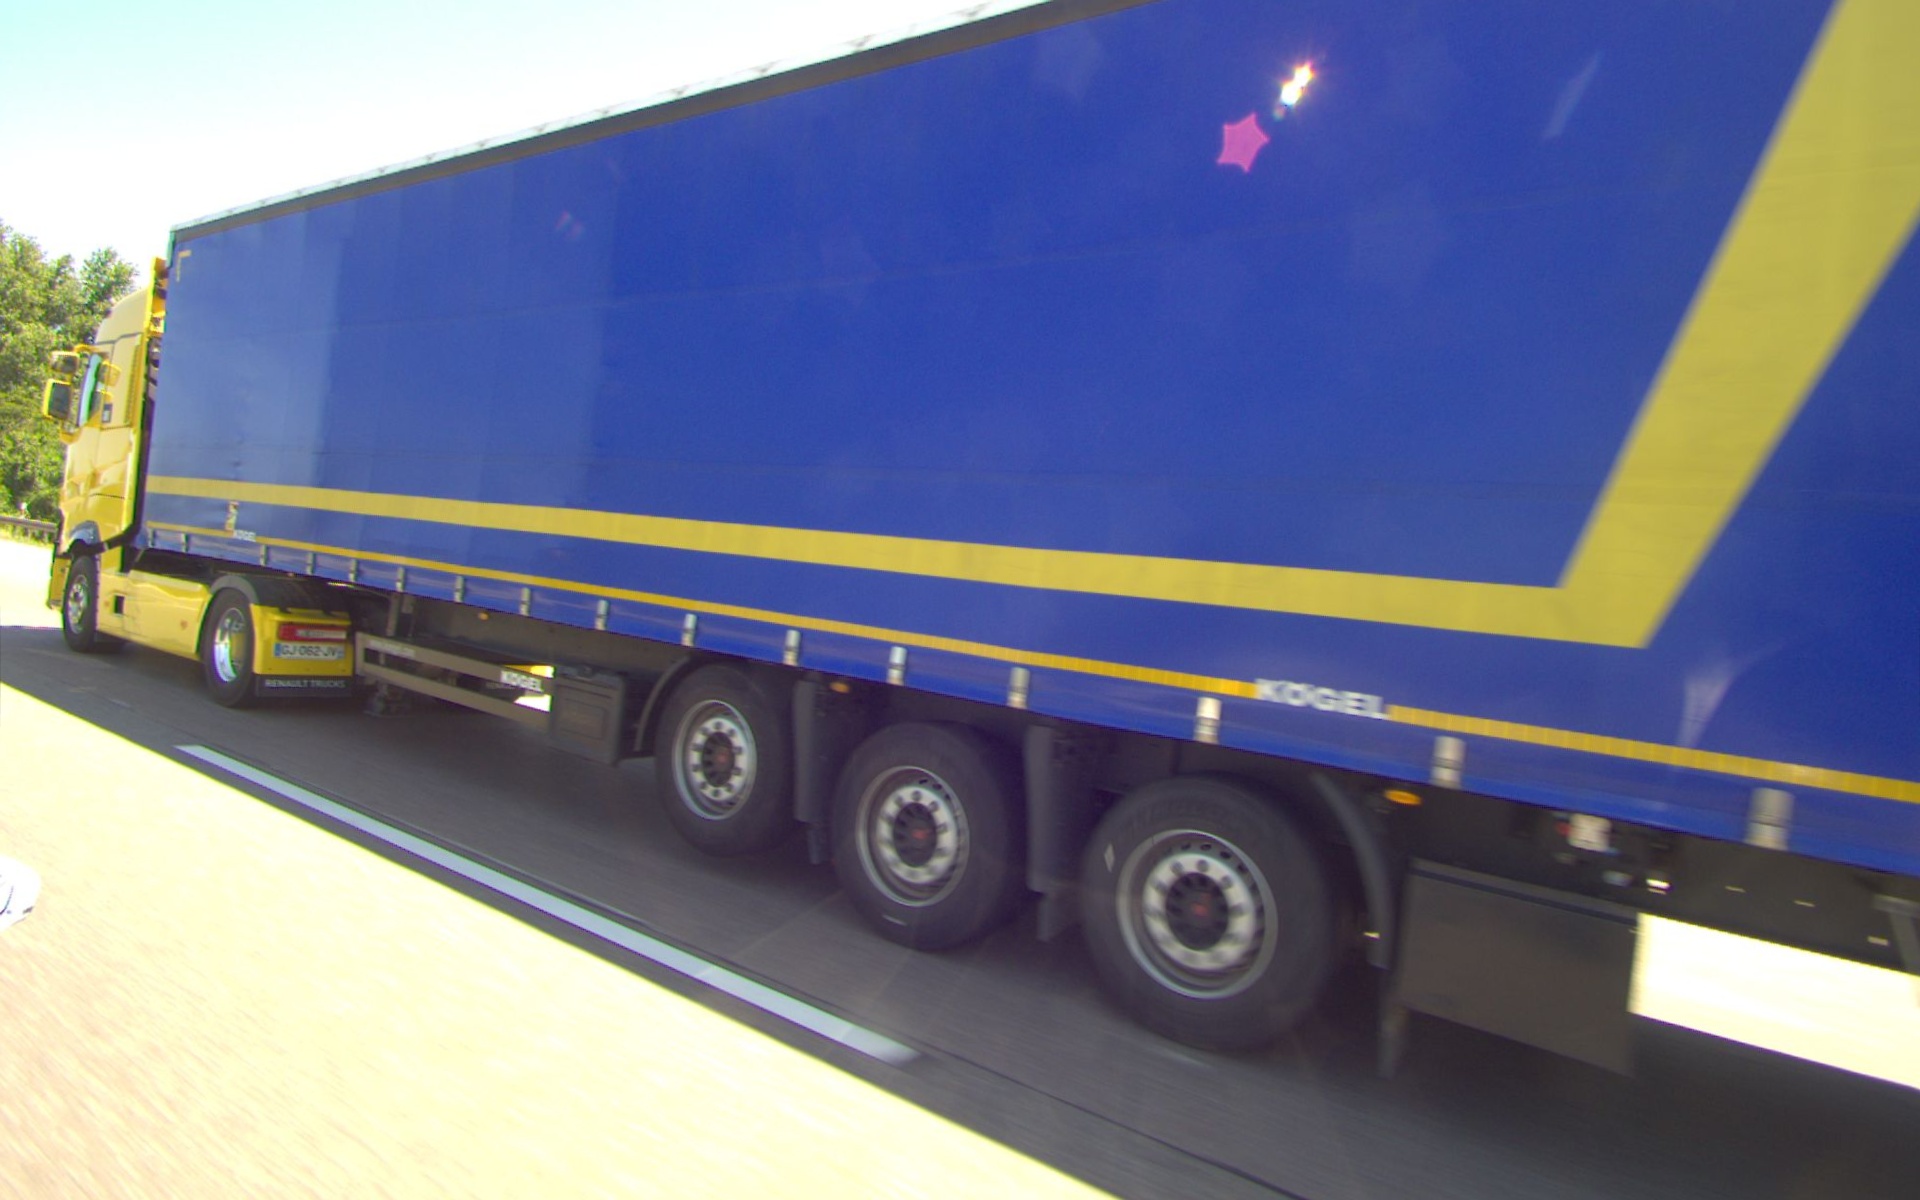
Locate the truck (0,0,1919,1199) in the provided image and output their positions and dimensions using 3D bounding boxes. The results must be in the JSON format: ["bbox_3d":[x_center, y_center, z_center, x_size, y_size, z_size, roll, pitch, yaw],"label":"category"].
[{"bbox_3d":[-3.092,-0.985,7.818,16.521,4.311,2.846,6,1,33],"label":"truck"}]
